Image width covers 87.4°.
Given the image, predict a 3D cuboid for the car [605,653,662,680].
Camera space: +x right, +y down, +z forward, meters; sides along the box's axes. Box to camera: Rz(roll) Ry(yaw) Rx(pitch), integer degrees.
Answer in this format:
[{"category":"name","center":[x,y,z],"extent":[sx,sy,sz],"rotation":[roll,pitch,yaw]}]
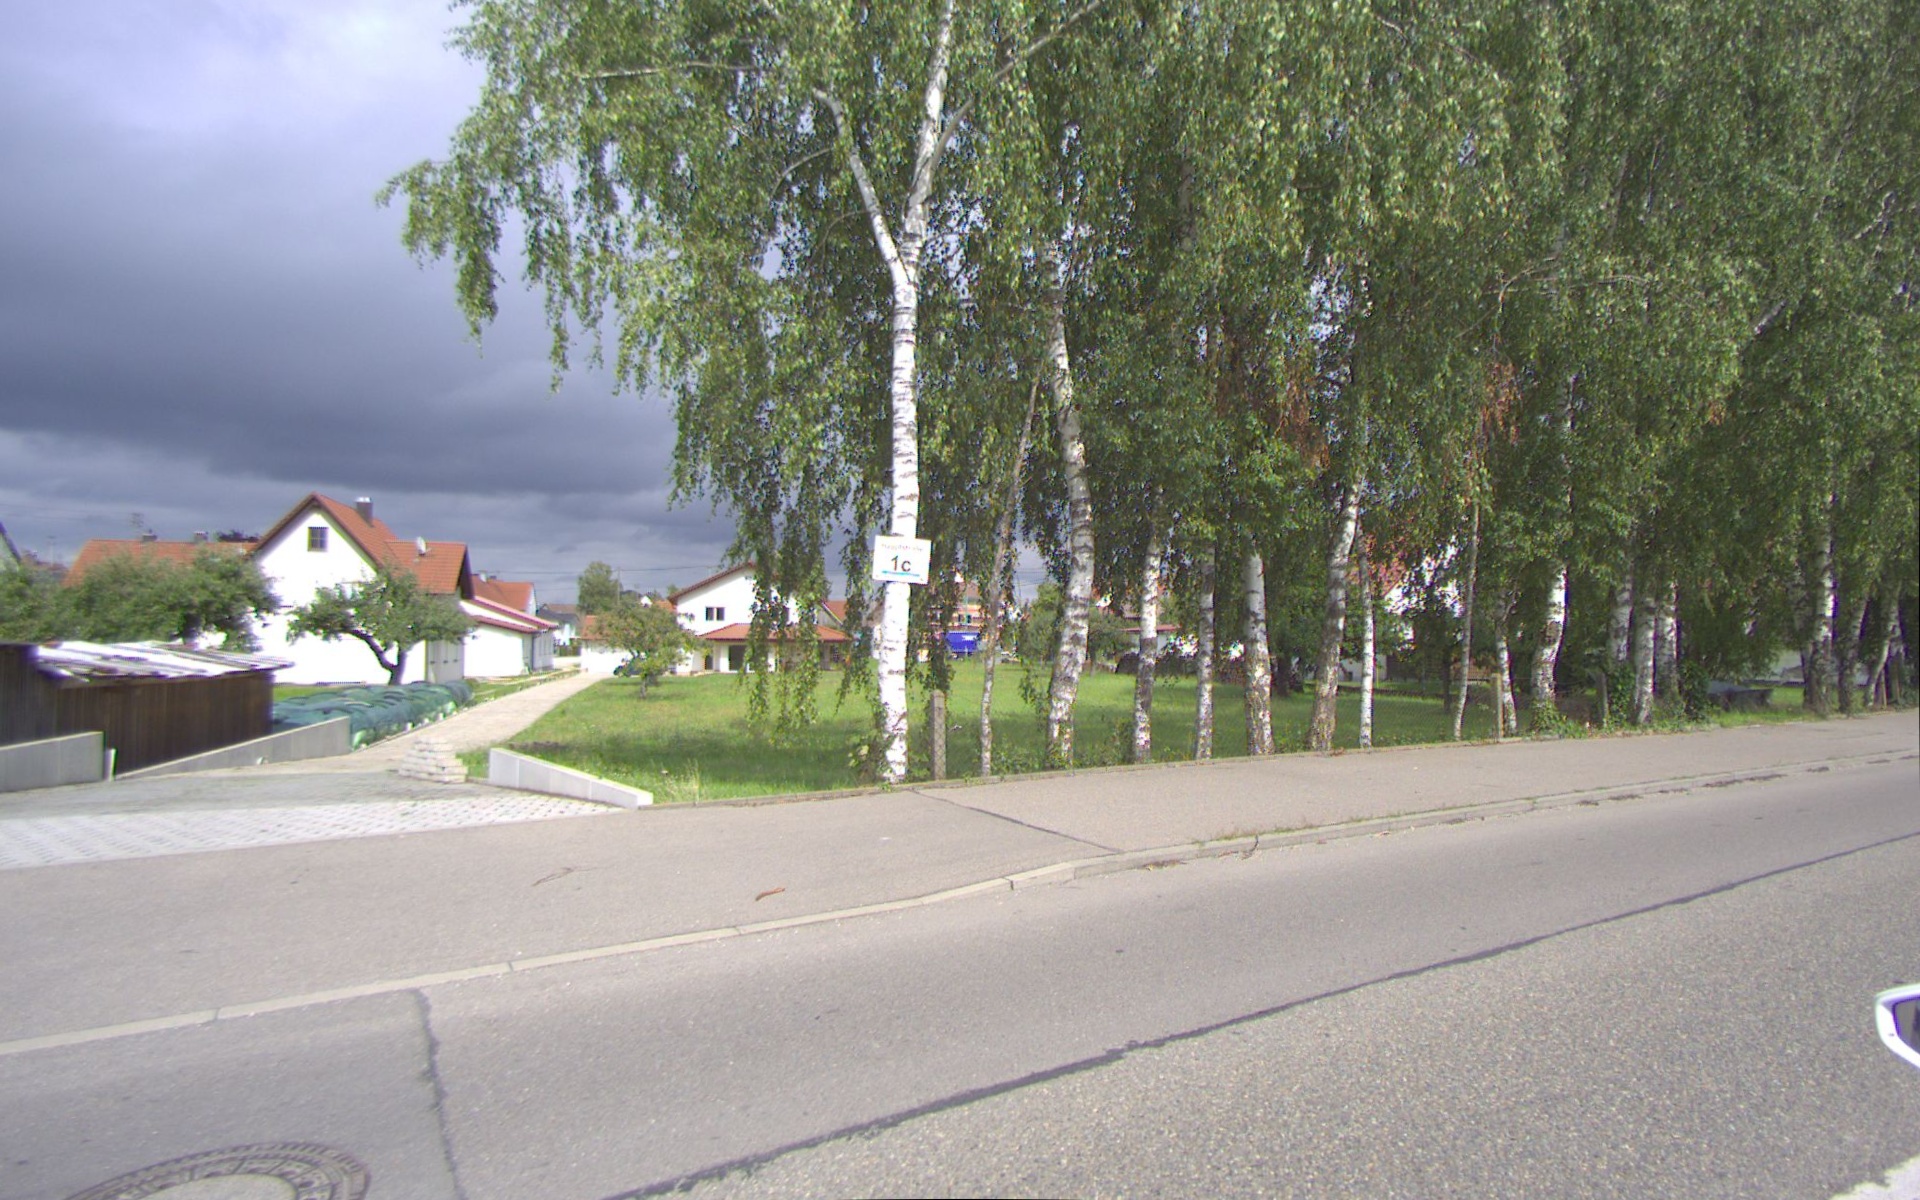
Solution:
[{"category":"car","center":[-24.573,5.005,75.789],"extent":[3.933,2.040,1.995],"rotation":[0,-3,-15]}]

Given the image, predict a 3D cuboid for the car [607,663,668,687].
[{"category":"car","center":[-24.339,5.639,75.882],"extent":[3.921,1.742,2.001],"rotation":[0,-3,1]}]
